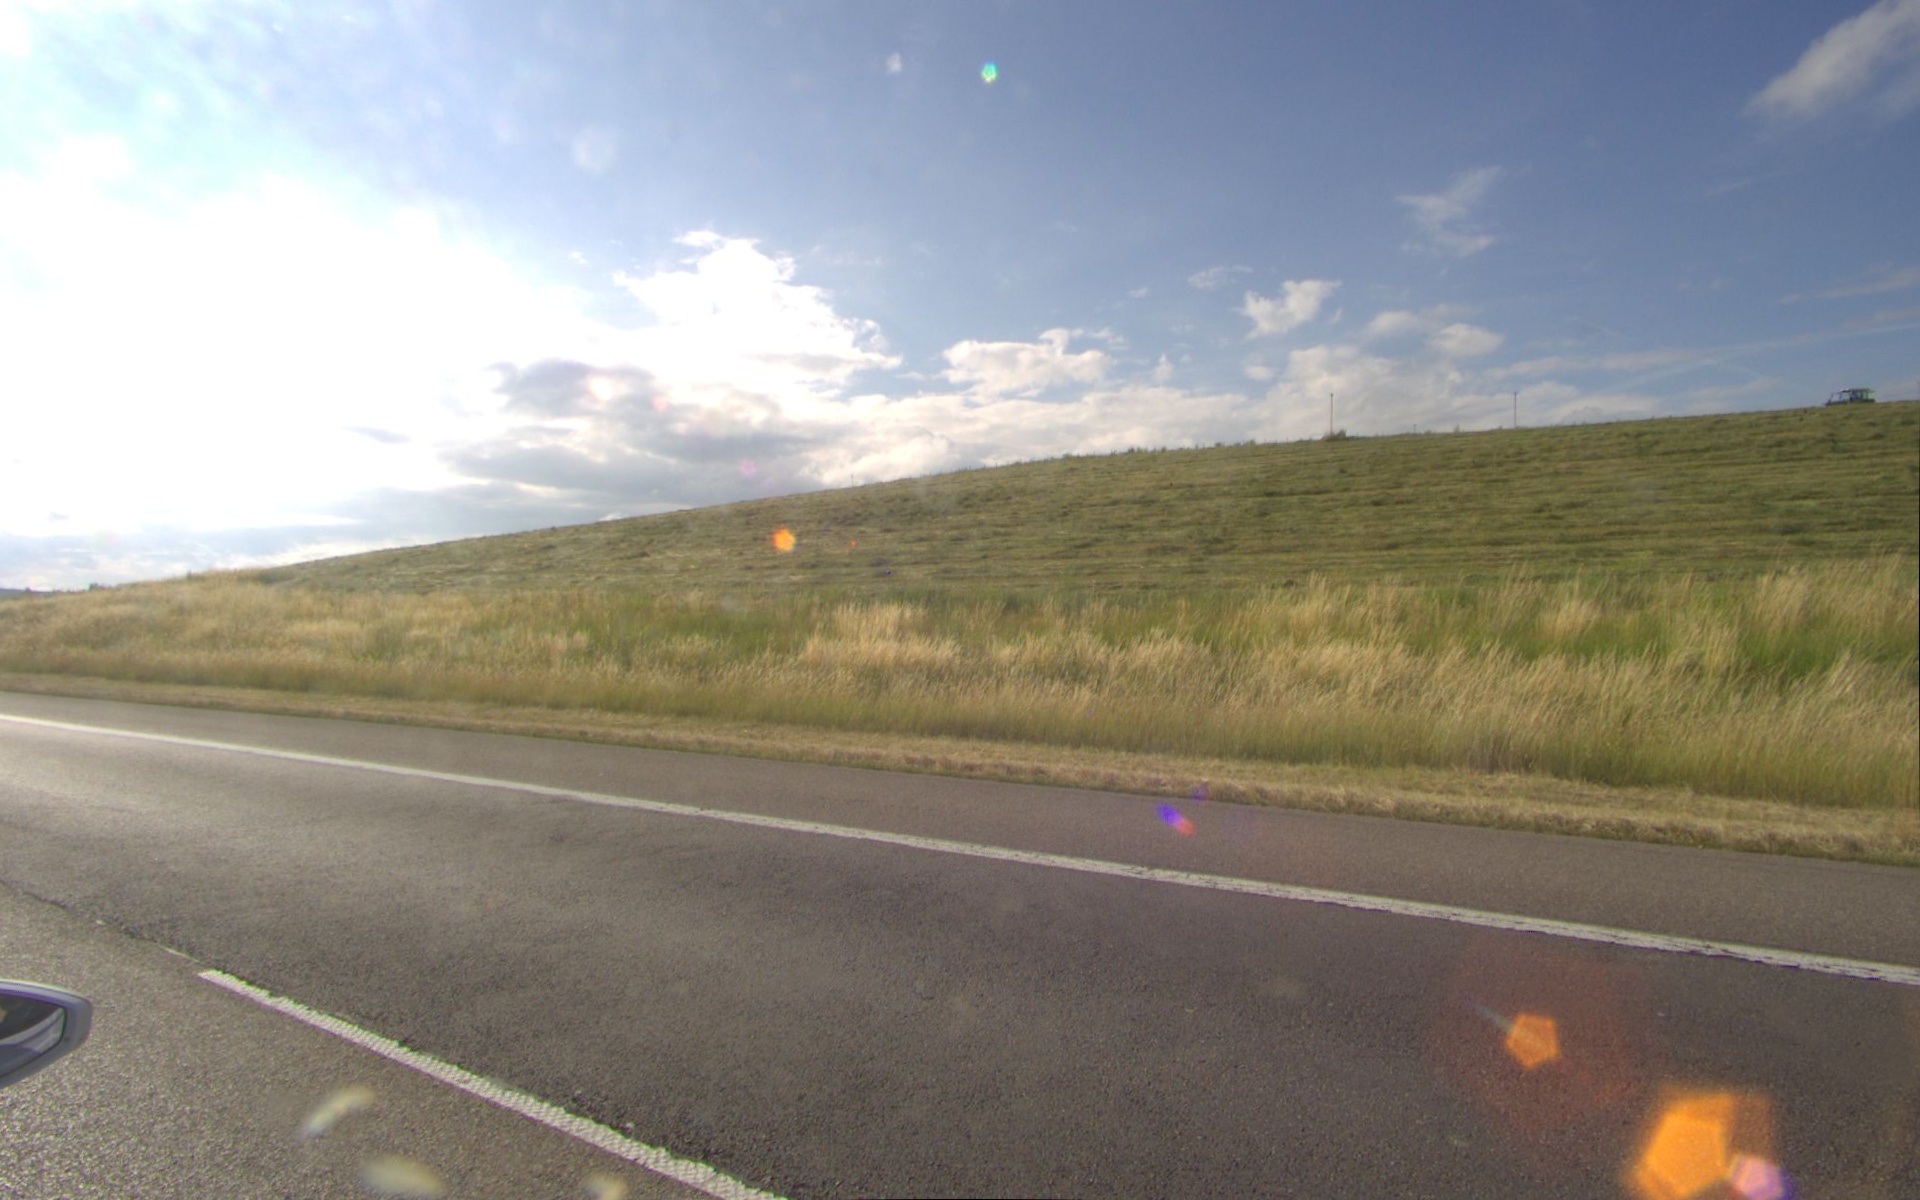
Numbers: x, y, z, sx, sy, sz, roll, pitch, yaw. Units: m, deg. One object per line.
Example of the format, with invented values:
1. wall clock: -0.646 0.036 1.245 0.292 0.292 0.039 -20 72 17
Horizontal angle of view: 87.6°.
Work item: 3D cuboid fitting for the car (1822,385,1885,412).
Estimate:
1. car: 79.520 -17.946 89.173 3.944 1.566 1.700 -1 -1 33
